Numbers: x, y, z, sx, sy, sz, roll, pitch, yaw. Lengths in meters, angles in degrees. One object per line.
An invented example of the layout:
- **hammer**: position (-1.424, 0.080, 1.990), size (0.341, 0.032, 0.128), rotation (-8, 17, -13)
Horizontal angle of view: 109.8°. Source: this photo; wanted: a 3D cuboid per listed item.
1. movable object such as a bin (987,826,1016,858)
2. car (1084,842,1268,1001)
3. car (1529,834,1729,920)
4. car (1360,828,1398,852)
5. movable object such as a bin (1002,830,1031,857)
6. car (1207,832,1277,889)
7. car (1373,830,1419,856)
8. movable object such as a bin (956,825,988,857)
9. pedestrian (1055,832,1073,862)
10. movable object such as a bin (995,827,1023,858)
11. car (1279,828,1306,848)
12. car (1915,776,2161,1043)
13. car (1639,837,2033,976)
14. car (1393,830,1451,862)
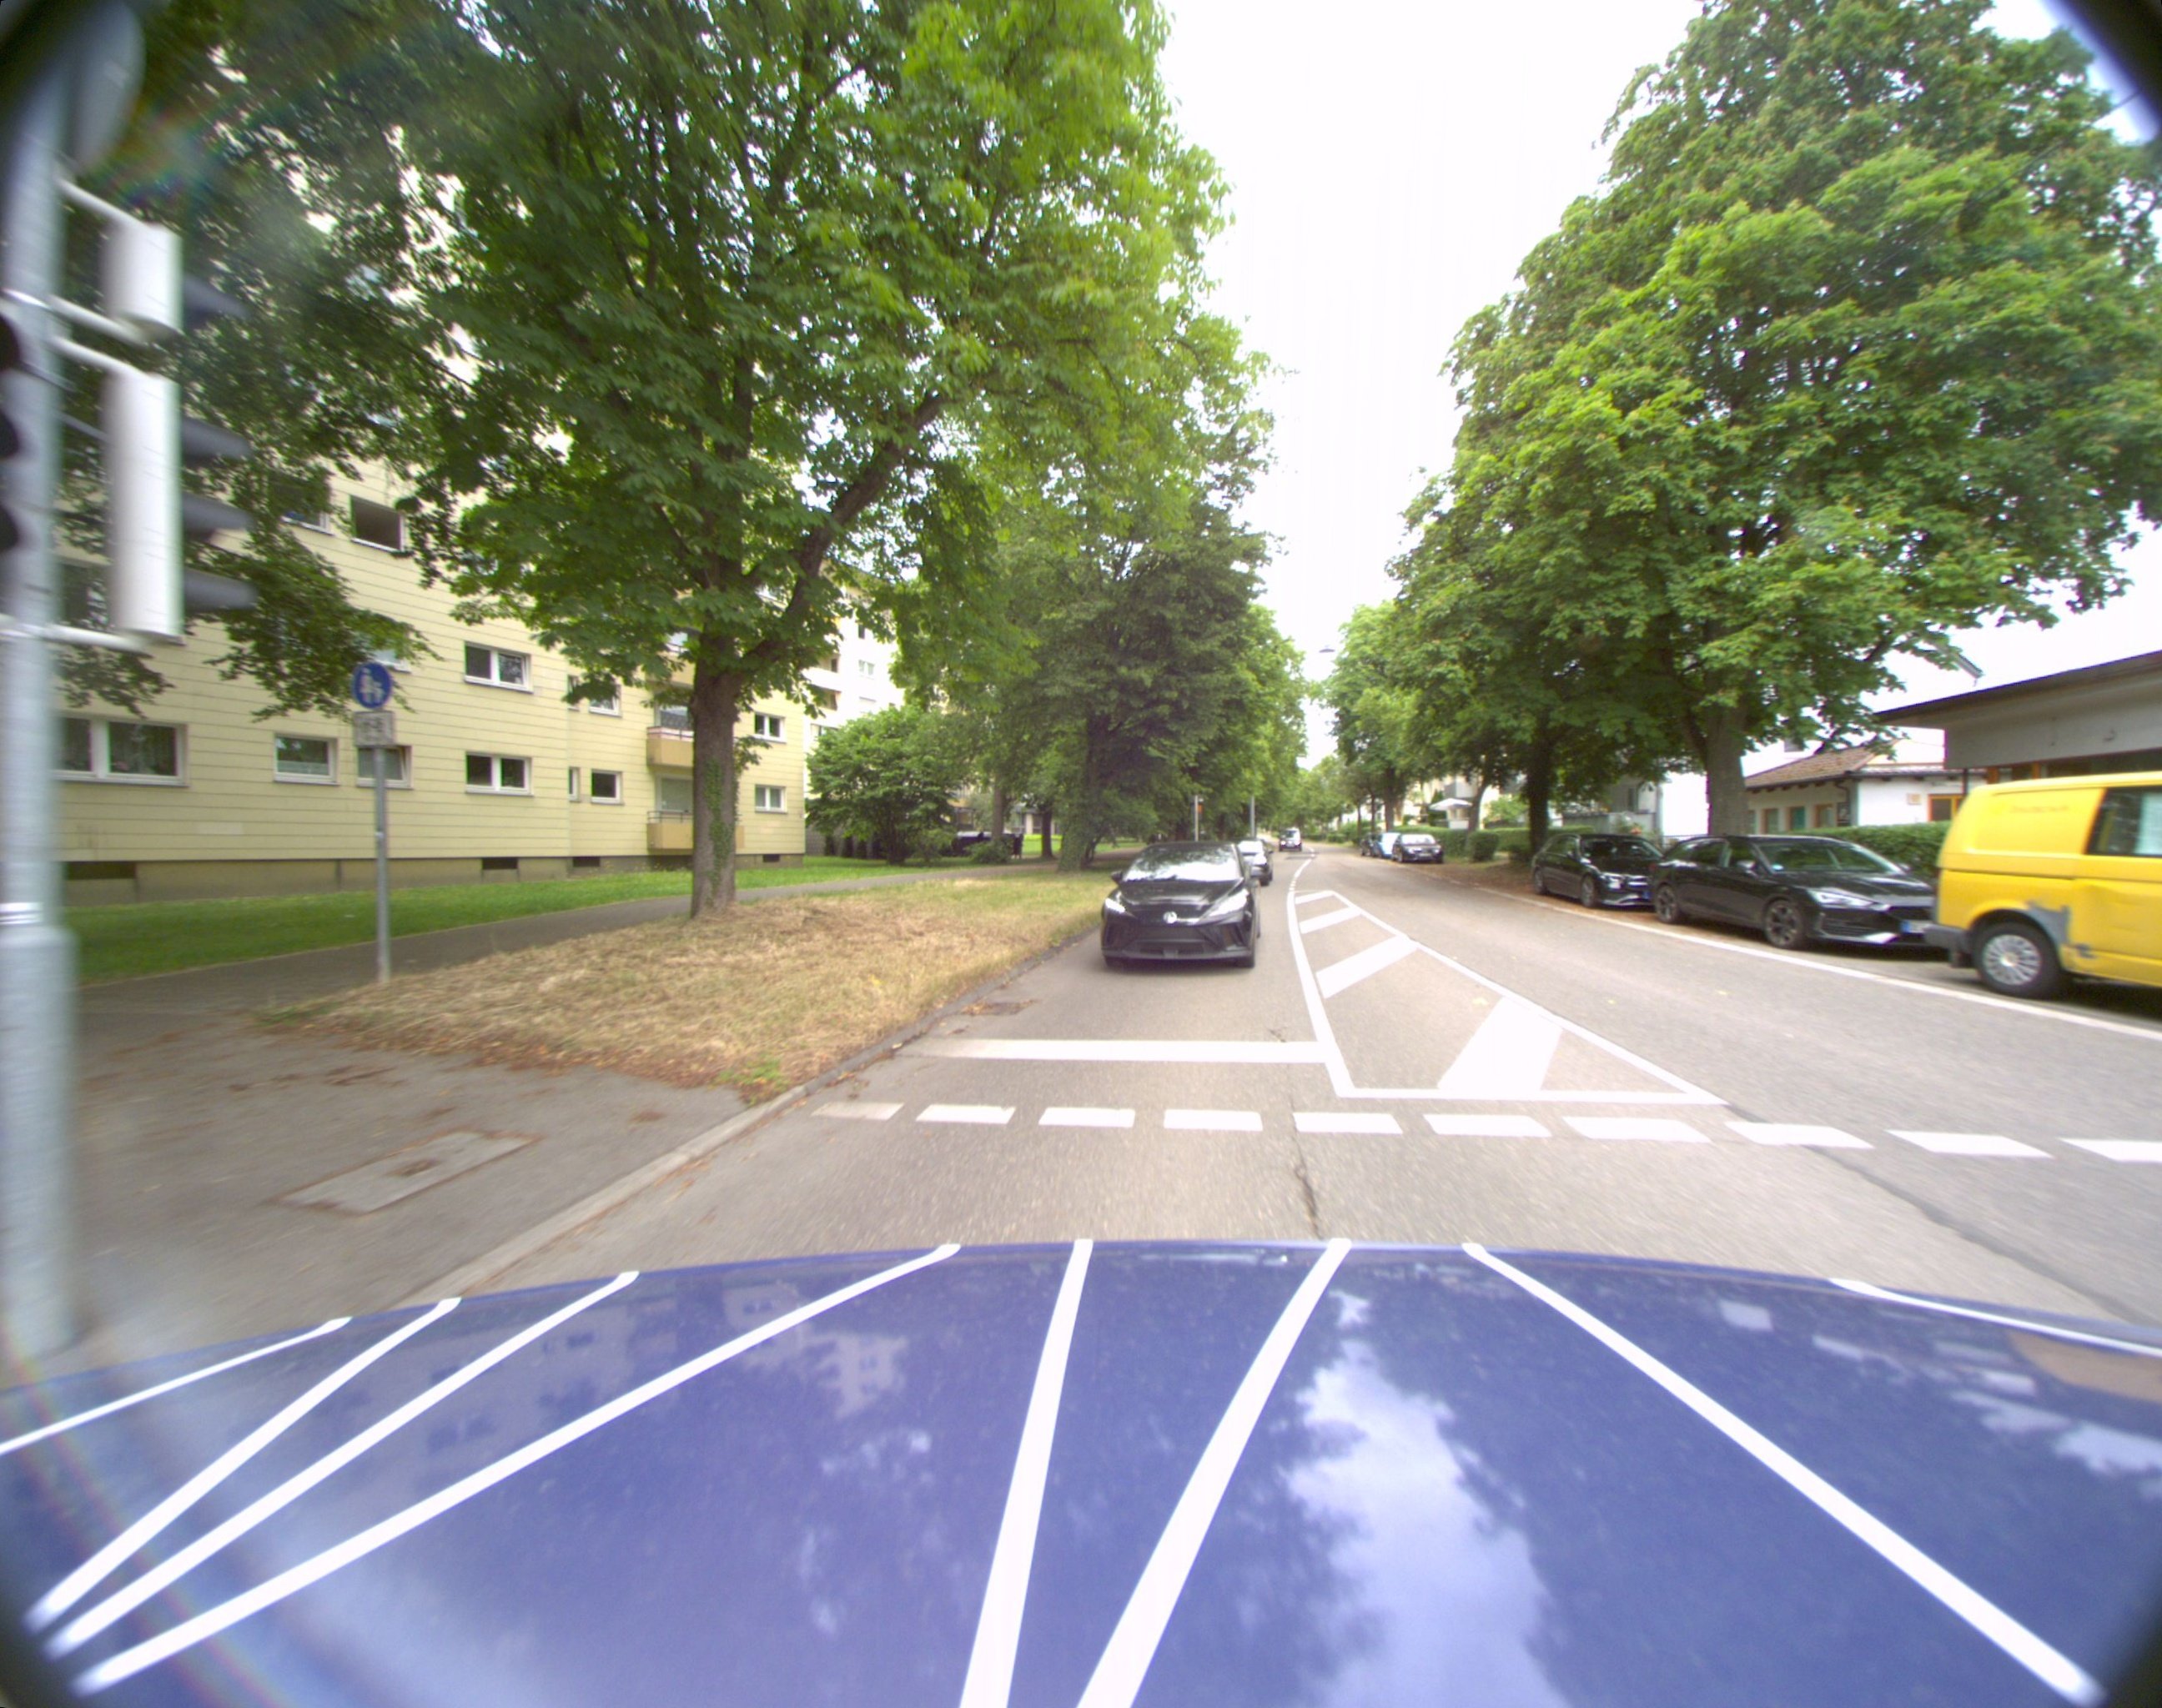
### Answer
- **movable object such as a bin**: position (-4.214, -0.657, 40.221), size (1.276, 1.633, 1.021), rotation (2, 3, 11)
- **car**: position (1.480, 0.666, 10.005), size (1.802, 1.542, 4.302), rotation (-1, 2, 15)
- **car**: position (10.904, 0.341, 15.576), size (1.747, 1.442, 4.597), rotation (0, 2, 14)
- **car**: position (17.824, -0.824, 45.570), size (1.539, 1.368, 3.775), rotation (0, 1, 13)
- **movable object such as a bin**: position (-3.591, -0.593, 42.647), size (1.327, 1.467, 1.202), rotation (1, 3, 11)
- **car**: position (5.093, 0.137, 23.667), size (1.812, 1.521, 4.003), rotation (0, 3, 16)
- **car**: position (16.928, -0.615, 41.010), size (1.635, 1.368, 4.155), rotation (0, 1, 13)
- **movable object such as a bin**: position (-5.785, -0.690, 40.455), size (1.433, 1.633, 1.021), rotation (1, 3, 11)
- **pedestrian**: position (-0.775, -0.324, 34.615), size (0.688, 1.374, 0.606), rotation (0, 3, 15)
- **movable object such as a bin**: position (-3.910, -0.627, 41.468), size (1.238, 1.633, 1.076), rotation (2, 3, 11)
- **car**: position (16.848, -1.292, 60.615), size (1.996, 1.586, 4.003), rotation (0, 2, 15)
- **car**: position (8.884, 0.427, 4.998), size (1.920, 1.978, 4.802), rotation (0, 2, 8)
- **car**: position (9.896, 0.519, 10.589), size (1.748, 1.442, 4.516), rotation (0, 2, 13)
- **car**: position (15.910, -0.406, 35.701), size (1.850, 1.368, 4.598), rotation (0, 1, 16)
